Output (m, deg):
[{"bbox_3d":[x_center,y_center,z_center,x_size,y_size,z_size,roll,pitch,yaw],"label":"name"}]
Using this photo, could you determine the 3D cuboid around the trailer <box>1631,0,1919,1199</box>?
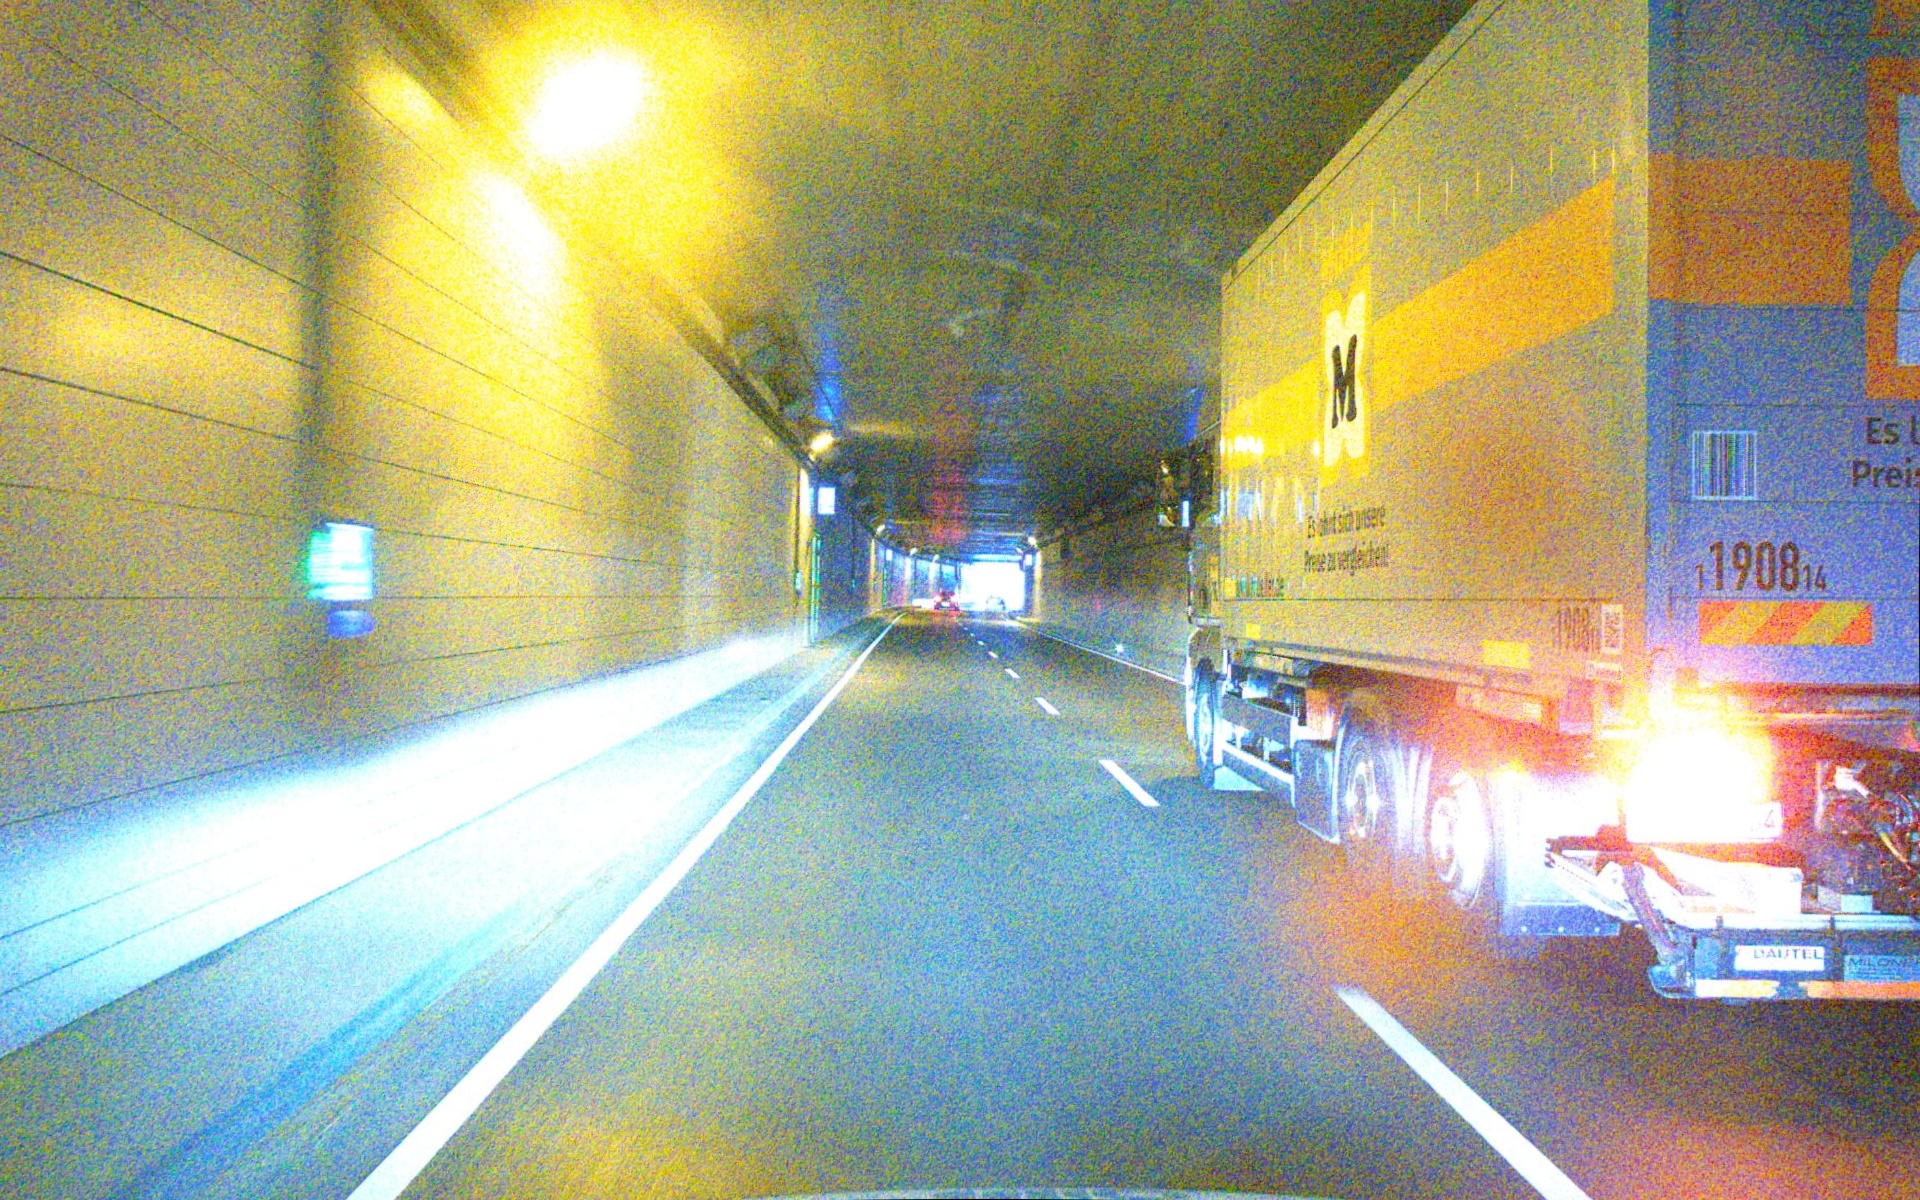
[{"bbox_3d":[3.495,-0.462,0.523,2.817,3.926,8.946,1,0,-1],"label":"trailer"}]

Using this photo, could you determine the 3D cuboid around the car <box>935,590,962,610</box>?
[{"bbox_3d":[-0.878,0.022,124.182,1.803,1.413,4.001,1,0,2],"label":"car"}]

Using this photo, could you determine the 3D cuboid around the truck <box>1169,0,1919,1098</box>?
[{"bbox_3d":[3.374,-0.510,9.941,2.830,3.982,9.907,1,0,-1],"label":"truck"}]

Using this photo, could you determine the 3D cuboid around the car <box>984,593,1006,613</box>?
[{"bbox_3d":[3.029,0.263,143.938,1.831,1.763,4.000,1,0,0],"label":"car"}]
